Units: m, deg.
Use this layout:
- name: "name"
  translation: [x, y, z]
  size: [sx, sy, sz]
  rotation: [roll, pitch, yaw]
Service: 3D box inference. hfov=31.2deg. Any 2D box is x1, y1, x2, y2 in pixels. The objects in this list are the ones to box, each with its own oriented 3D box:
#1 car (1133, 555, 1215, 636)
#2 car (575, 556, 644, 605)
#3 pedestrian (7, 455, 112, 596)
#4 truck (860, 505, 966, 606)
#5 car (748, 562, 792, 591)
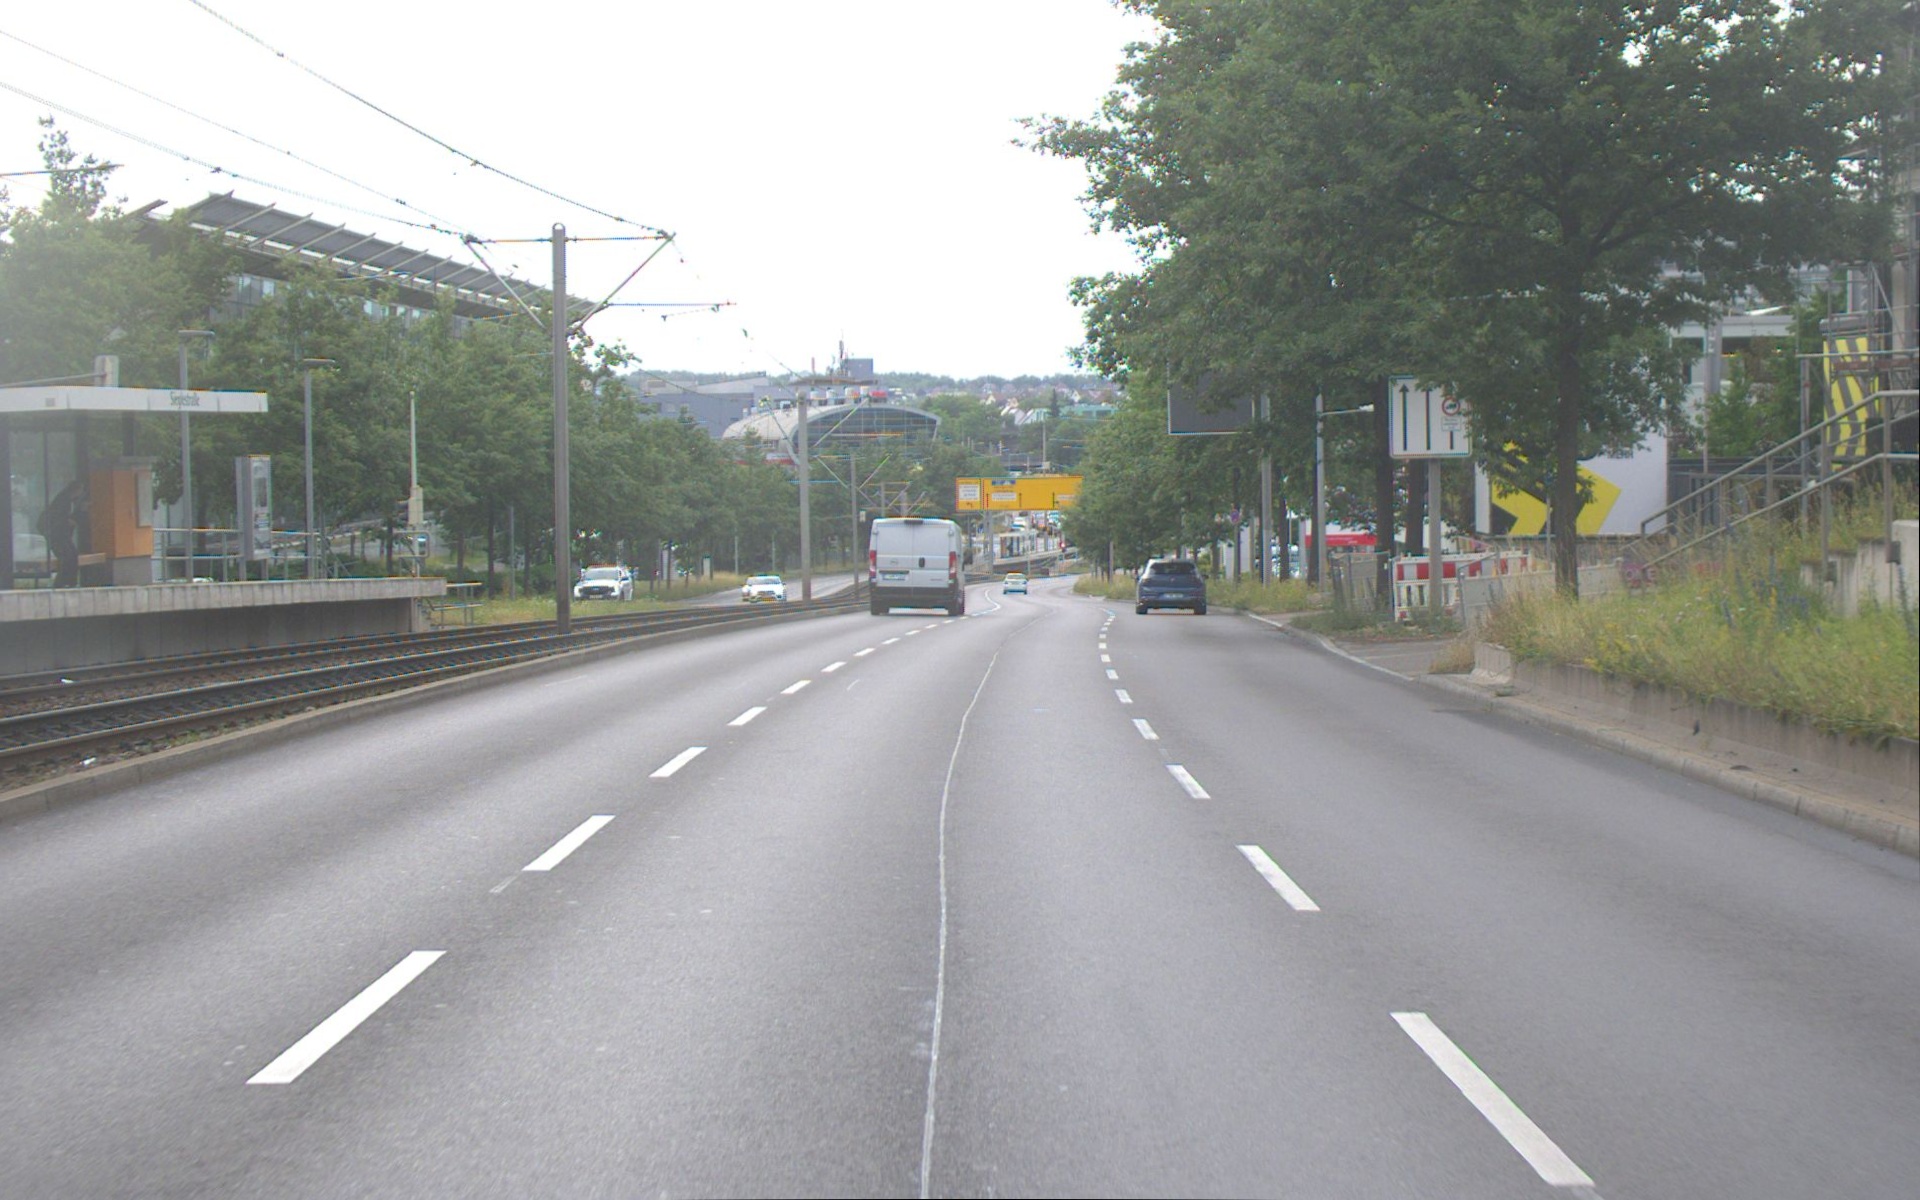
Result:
- name: "car"
  translation: [5.543, -0.125, 89.466]
  size: [1.994, 2.007, 3.934]
  rotation: [1, 0, 2]
- name: "car"
  translation: [-13.920, -0.779, 136.779]
  size: [1.993, 1.840, 5.002]
  rotation: [-1, 1, 2]
- name: "pedestrian"
  translation: [-13.172, -1.077, 50.304]
  size: [1.126, 2.007, 1.270]
  rotation: [1, 0, 2]
- name: "truck"
  translation: [-1.076, -1.017, 80.916]
  size: [2.360, 2.254, 5.306]
  rotation: [1, 0, 0]
- name: "car"
  translation: [-10.049, -1.247, 182.285]
  size: [1.837, 1.439, 4.428]
  rotation: [-2, 1, 3]
